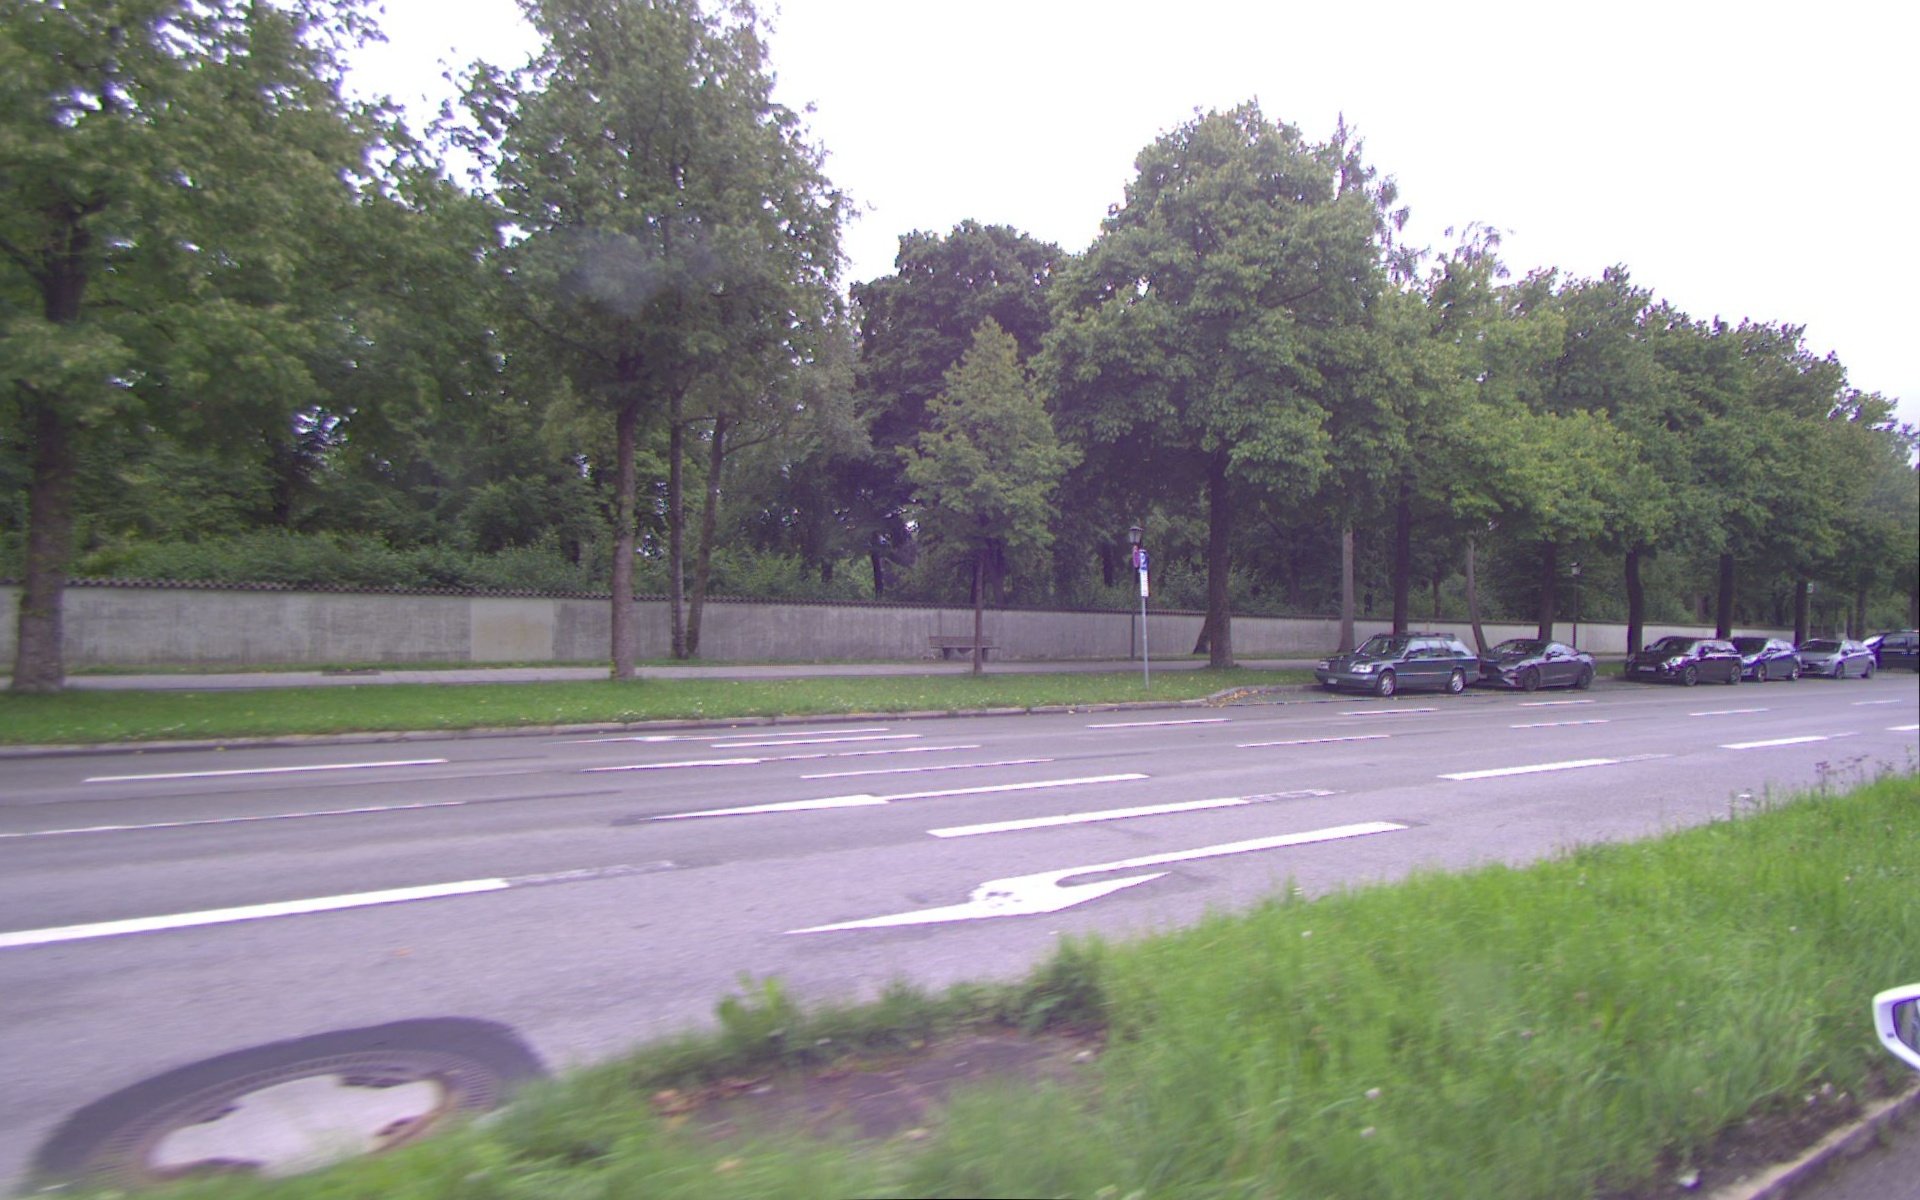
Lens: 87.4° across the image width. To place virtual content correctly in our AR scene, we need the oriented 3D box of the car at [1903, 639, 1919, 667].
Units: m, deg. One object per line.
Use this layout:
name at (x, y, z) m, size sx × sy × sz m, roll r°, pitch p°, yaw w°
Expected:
car at (50.344, 2.711, 50.494) m, size 3.966 × 1.400 × 1.674 m, roll 1°, pitch -1°, yaw 25°

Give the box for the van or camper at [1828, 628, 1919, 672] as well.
van or camper at (42.142, 2.231, 45.352) m, size 4.044 × 1.879 × 1.850 m, roll 1°, pitch -1°, yaw 19°

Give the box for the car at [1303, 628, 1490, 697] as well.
car at (10.976, 1.523, 25.151) m, size 4.858 × 1.510 × 1.790 m, roll 2°, pitch 0°, yaw -31°

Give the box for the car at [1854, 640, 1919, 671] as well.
car at (44.518, 2.607, 47.113) m, size 3.516 × 1.372 × 1.750 m, roll 1°, pitch -1°, yaw 30°

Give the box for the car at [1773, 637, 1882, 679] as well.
car at (33.156, 2.182, 38.352) m, size 4.751 × 1.458 × 1.628 m, roll 2°, pitch 0°, yaw -30°

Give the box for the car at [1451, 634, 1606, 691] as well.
car at (15.851, 1.704, 27.943) m, size 4.652 × 1.414 × 1.651 m, roll 2°, pitch 0°, yaw -31°

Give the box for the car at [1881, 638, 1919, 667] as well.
car at (47.666, 2.595, 48.771) m, size 3.925 × 1.372 × 1.849 m, roll 0°, pitch -1°, yaw 25°

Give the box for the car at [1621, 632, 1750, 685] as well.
car at (23.267, 1.851, 32.185) m, size 4.247 × 1.523 × 1.565 m, roll 2°, pitch 0°, yaw -27°

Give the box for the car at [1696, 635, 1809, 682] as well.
car at (27.748, 2.018, 35.128) m, size 4.745 × 1.478 × 1.578 m, roll 2°, pitch 0°, yaw -32°
